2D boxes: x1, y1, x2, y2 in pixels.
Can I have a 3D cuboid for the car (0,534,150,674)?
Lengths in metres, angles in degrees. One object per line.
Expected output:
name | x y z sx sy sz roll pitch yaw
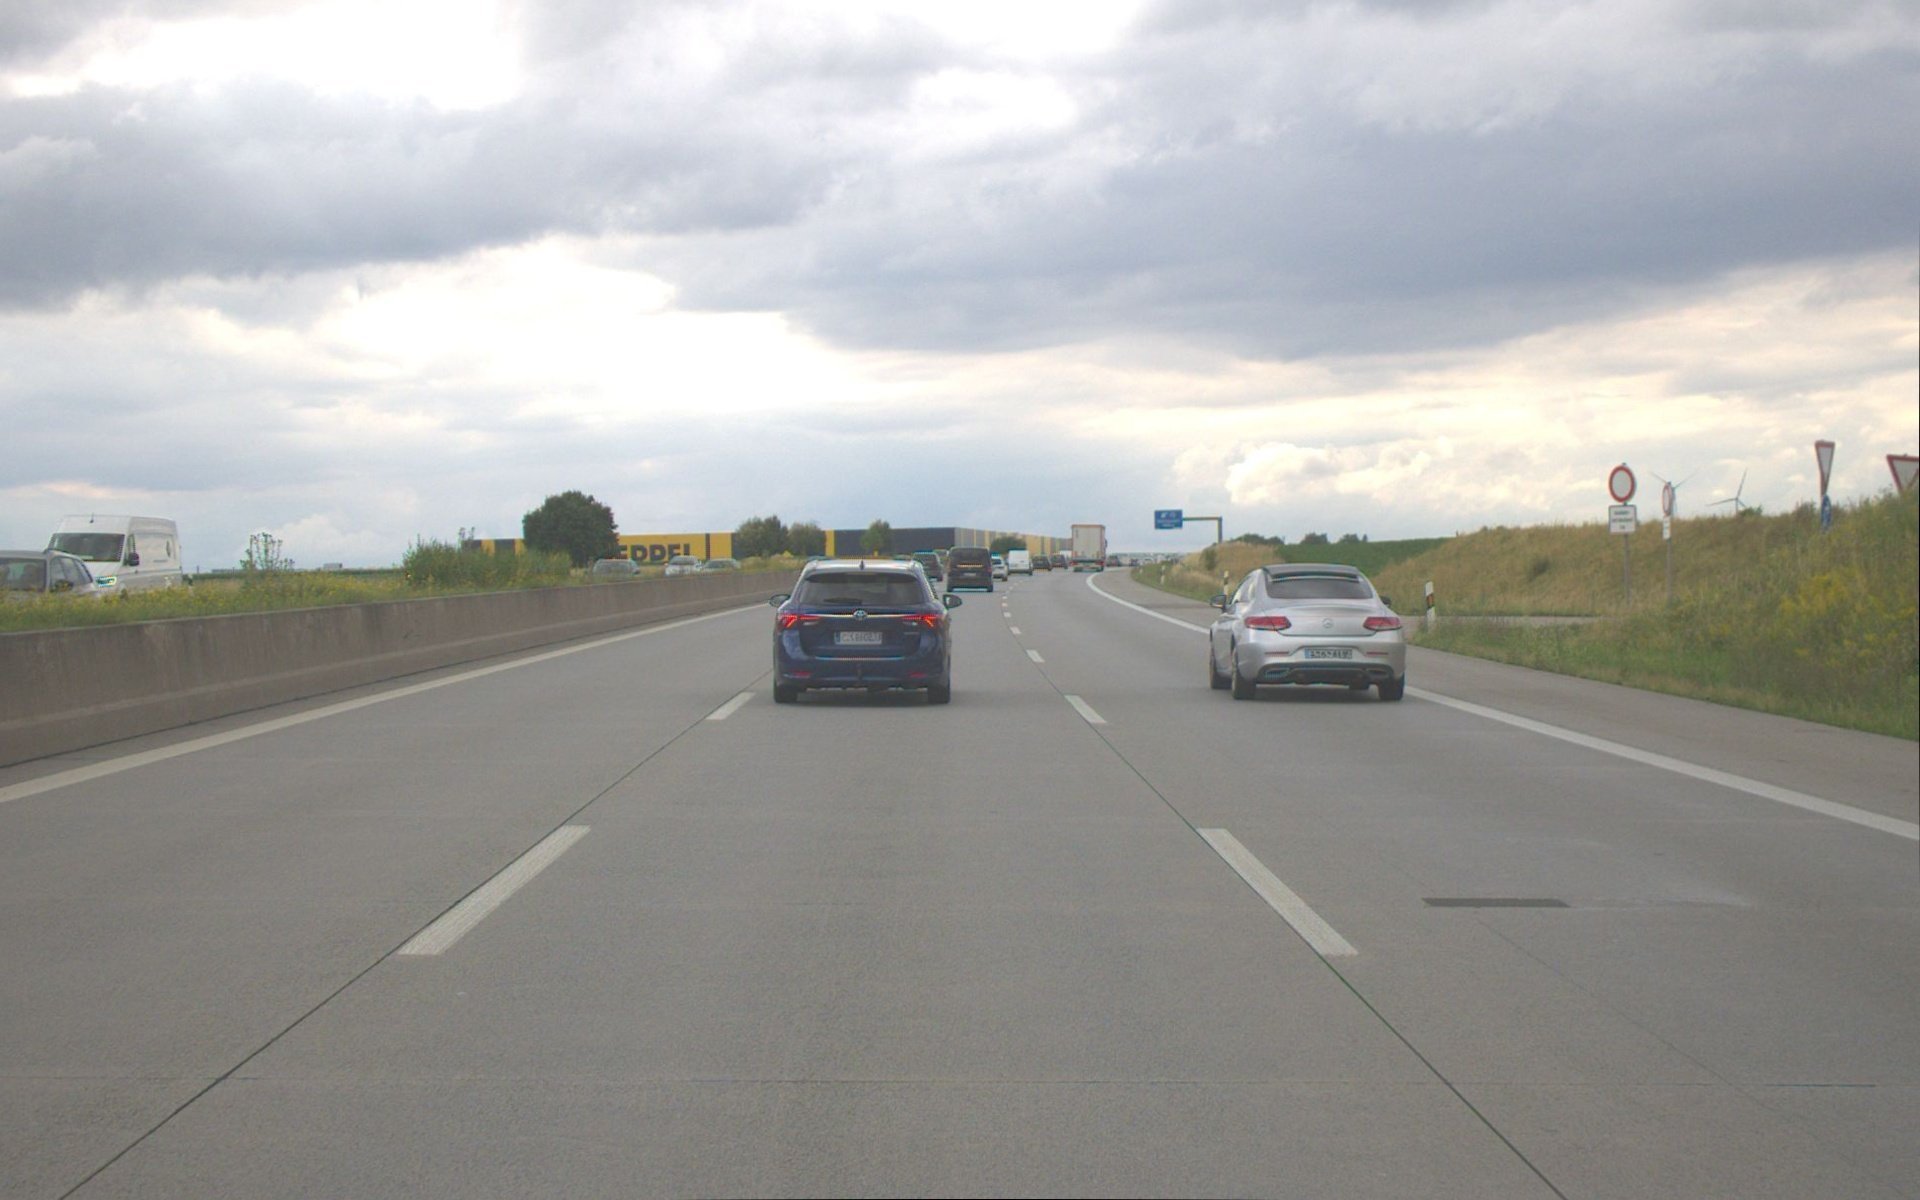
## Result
car | -12.461 0.010 46.249 1.993 1.775 4.931 0 1 0

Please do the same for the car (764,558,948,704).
car | -1.051 0.289 35.312 1.774 1.408 4.000 0 0 -1

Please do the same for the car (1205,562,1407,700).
car | 3.680 0.305 37.166 1.788 1.399 4.221 0 0 1

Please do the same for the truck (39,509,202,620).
truck | -20.299 -0.825 83.468 2.144 2.558 7.448 1 0 0

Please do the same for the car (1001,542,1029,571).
car | 3.902 -3.104 244.667 1.993 2.007 4.000 1 0 1

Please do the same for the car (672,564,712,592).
car | -14.907 -1.225 191.396 1.778 1.502 4.517 1 0 1

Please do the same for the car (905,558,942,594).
car | -2.044 -1.332 193.591 2.046 2.007 4.000 1 0 0

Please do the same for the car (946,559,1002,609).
car | 0.552 -0.663 141.651 1.993 2.007 4.000 1 0 -4

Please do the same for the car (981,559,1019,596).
car | 2.294 -1.284 196.312 1.994 2.007 4.000 1 1 2
